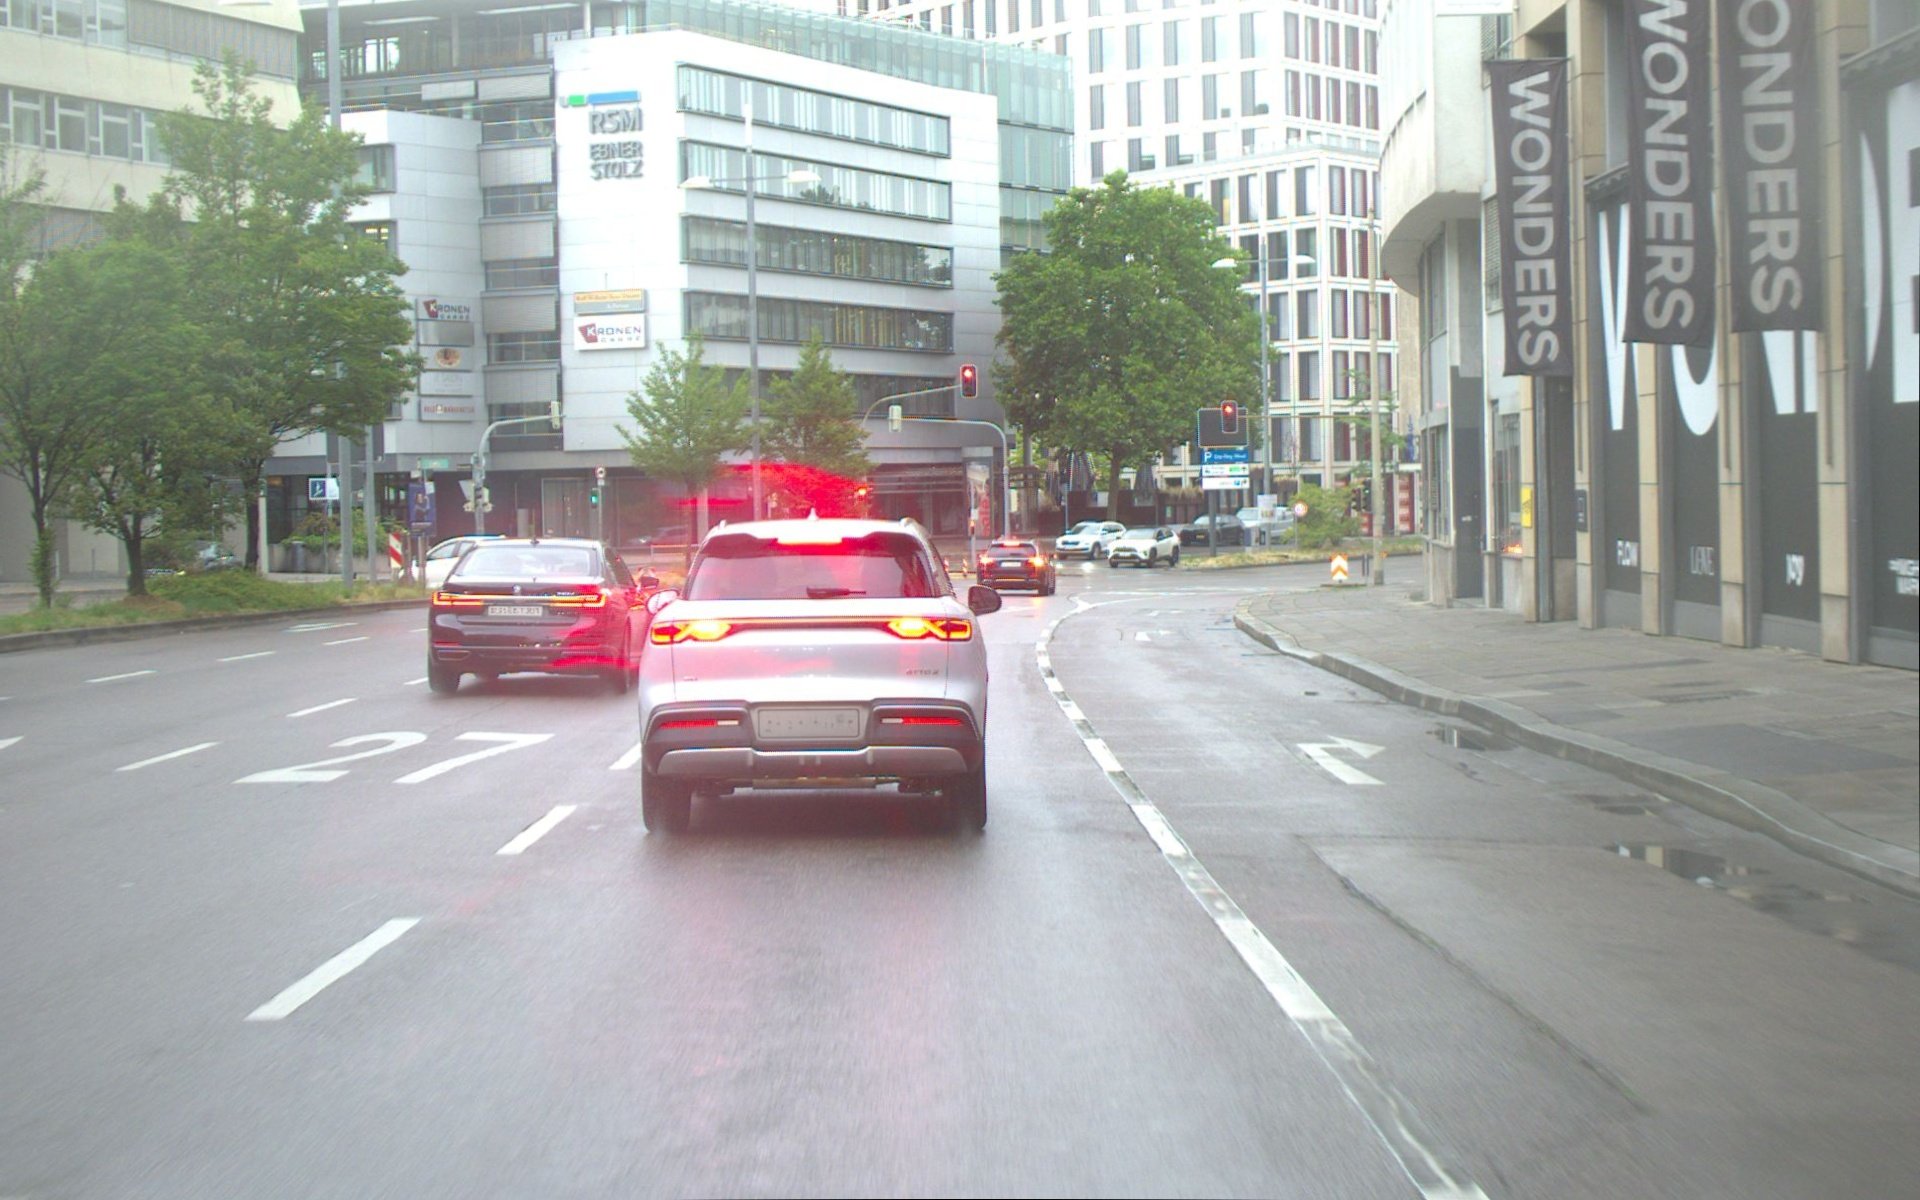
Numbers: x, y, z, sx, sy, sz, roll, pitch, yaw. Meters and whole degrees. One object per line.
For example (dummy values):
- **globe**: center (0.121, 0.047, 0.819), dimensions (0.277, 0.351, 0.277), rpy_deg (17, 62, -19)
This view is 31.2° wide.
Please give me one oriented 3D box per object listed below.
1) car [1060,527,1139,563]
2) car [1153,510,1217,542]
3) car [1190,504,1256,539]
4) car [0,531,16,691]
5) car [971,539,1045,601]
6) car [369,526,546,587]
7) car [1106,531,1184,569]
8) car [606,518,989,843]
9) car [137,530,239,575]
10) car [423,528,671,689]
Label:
- **car**: center (6.247, -2.460, 153.807), dimensions (1.584, 1.533, 3.992), rpy_deg (1, 2, 36)
- **car**: center (11.136, -3.659, 169.927), dimensions (1.583, 1.533, 3.994), rpy_deg (0, 2, 30)
- **car**: center (13.543, -4.049, 177.030), dimensions (1.860, 1.730, 3.994), rpy_deg (0, 2, 30)
- **car**: center (-9.572, 0.132, 29.791), dimensions (1.774, 1.452, 4.000), rpy_deg (-1, 1, -2)
- **car**: center (1.289, -0.808, 90.550), dimensions (1.812, 1.573, 4.000), rpy_deg (0, 1, 3)
- **car**: center (-11.404, -0.989, 77.937), dimensions (3.996, 1.337, 1.655), rpy_deg (1, 2, 38)
- **car**: center (7.682, -2.084, 142.399), dimensions (1.583, 1.533, 3.994), rpy_deg (0, 2, 30)
- **car**: center (-0.828, 0.356, 19.104), dimensions (1.901, 1.616, 4.000), rpy_deg (0, 1, -1)
- **car**: center (-19.601, -1.220, 87.409), dimensions (1.580, 1.086, 4.000), rpy_deg (-1, 2, 2)
- **car**: center (-4.037, 0.028, 34.340), dimensions (1.872, 1.474, 4.878), rpy_deg (-1, 1, 0)
